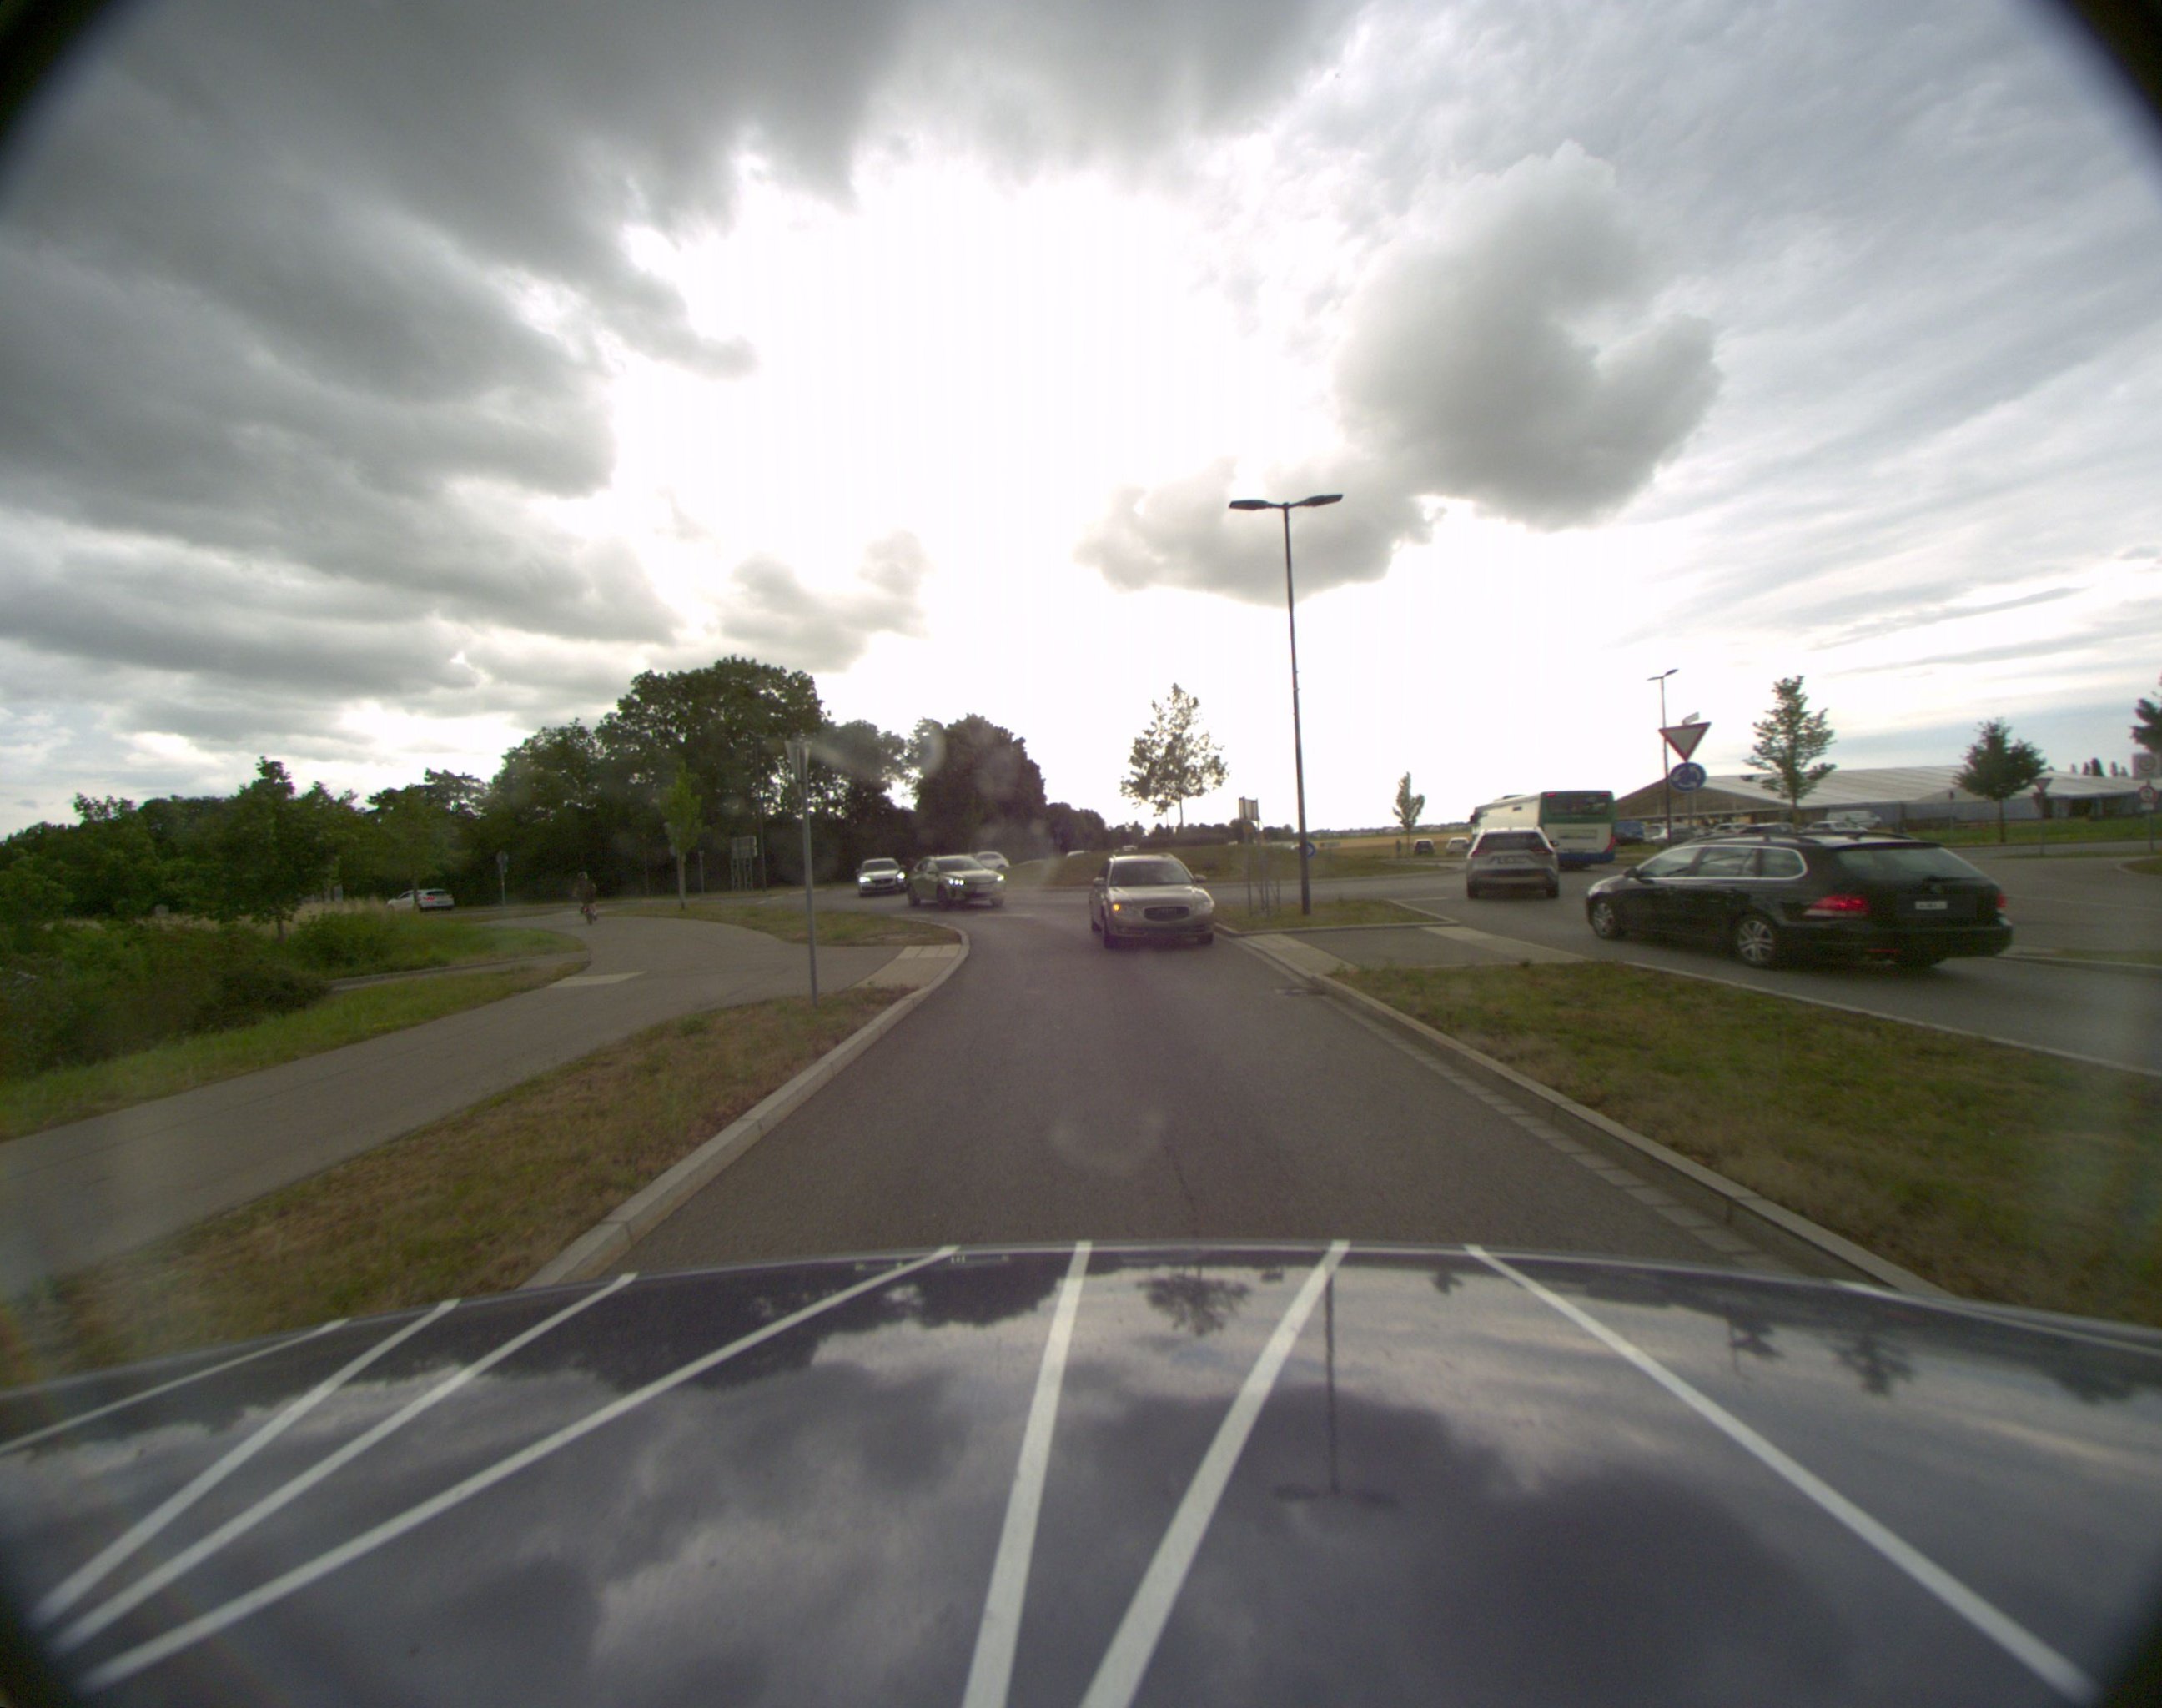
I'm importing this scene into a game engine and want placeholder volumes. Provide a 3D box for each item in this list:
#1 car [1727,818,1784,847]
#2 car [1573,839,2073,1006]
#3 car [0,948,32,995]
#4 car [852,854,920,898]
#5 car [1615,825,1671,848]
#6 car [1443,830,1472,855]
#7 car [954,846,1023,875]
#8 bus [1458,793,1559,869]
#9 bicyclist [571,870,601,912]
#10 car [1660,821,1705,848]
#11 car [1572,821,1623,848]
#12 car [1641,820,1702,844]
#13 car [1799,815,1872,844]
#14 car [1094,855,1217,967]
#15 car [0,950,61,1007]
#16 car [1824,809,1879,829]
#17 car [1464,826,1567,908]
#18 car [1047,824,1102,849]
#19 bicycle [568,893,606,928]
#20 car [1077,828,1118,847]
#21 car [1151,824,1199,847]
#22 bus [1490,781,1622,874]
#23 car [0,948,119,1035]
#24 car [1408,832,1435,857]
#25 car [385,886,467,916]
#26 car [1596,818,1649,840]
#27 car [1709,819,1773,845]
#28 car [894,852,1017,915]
[{"bbox_3d":[49.244,-1.523,55.584,2.227,2.002,4.007,-1,1,28],"label":"car"},{"bbox_3d":[8.170,0.611,9.100,1.830,1.480,4.337,-1,0,2],"label":"car"},{"bbox_3d":[-35.976,3.878,23.445,1.697,1.352,4.007,-1,1,28],"label":"car"},{"bbox_3d":[-7.833,0.836,30.900,1.871,1.533,4.197,-3,1,-4],"label":"car"},{"bbox_3d":[51.563,-1.591,69.703,4.001,2.002,1.998,-2,1,-12],"label":"car"},{"bbox_3d":[31.262,-0.956,63.206,1.995,2.002,4.006,-1,1,25],"label":"car"},{"bbox_3d":[-5.618,0.367,46.647,1.994,1.674,4.008,-1,1,34],"label":"car"},{"bbox_3d":[20.547,-1.050,36.942,2.987,3.261,6.710,-1,1,18],"label":"bus"},{"bbox_3d":[-14.786,1.093,22.681,0.657,1.236,0.556,-1,1,40],"label":"bicyclist"},{"bbox_3d":[46.164,-1.470,58.420,1.995,2.002,4.007,-1,1,28],"label":"car"},{"bbox_3d":[39.619,-1.475,58.378,1.996,2.002,4.004,-1,1,15],"label":"car"},{"bbox_3d":[51.568,-1.889,66.407,4.000,2.002,1.998,-1,1,-8],"label":"car"},{"bbox_3d":[56.126,-1.828,56.515,4.001,2.002,1.998,-2,1,-12],"label":"car"},{"bbox_3d":[1.178,0.815,12.830,1.700,1.458,4.000,-2,1,3],"label":"car"},{"bbox_3d":[-30.983,3.563,20.414,1.840,1.352,4.007,-1,1,28],"label":"car"},{"bbox_3d":[81.427,-3.669,80.305,4.568,2.002,1.998,-1,1,-12],"label":"car"},{"bbox_3d":[10.429,0.227,18.514,1.827,1.713,4.406,-1,2,25],"label":"car"},{"bbox_3d":[-0.486,-1.355,59.554,1.994,1.794,4.781,-1,1,32],"label":"car"},{"bbox_3d":[-14.769,1.683,22.700,1.297,0.956,0.569,-1,1,41],"label":"bicycle"},{"bbox_3d":[1.595,-1.487,70.599,1.994,1.674,4.007,-1,1,32],"label":"car"},{"bbox_3d":[7.331,-1.413,59.006,1.994,1.674,4.008,-1,1,37],"label":"car"},{"bbox_3d":[18.772,-0.963,30.520,2.987,3.261,6.492,-1,1,18],"label":"bus"},{"bbox_3d":[-25.434,3.275,17.189,1.697,1.707,4.250,-1,1,28],"label":"car"},{"bbox_3d":[28.910,-0.838,64.541,1.995,2.002,4.006,-1,1,25],"label":"car"},{"bbox_3d":[-42.588,3.053,49.449,4.066,1.761,2.002,-1,1,14],"label":"car"},{"bbox_3d":[52.528,-2.436,73.760,4.001,2.002,1.998,-2,1,-12],"label":"car"},{"bbox_3d":[54.120,-1.822,62.318,4.001,2.002,1.998,-2,1,-12],"label":"car"},{"bbox_3d":[-3.919,0.819,22.872,1.874,1.579,5.050,-4,1,-31],"label":"car"}]
